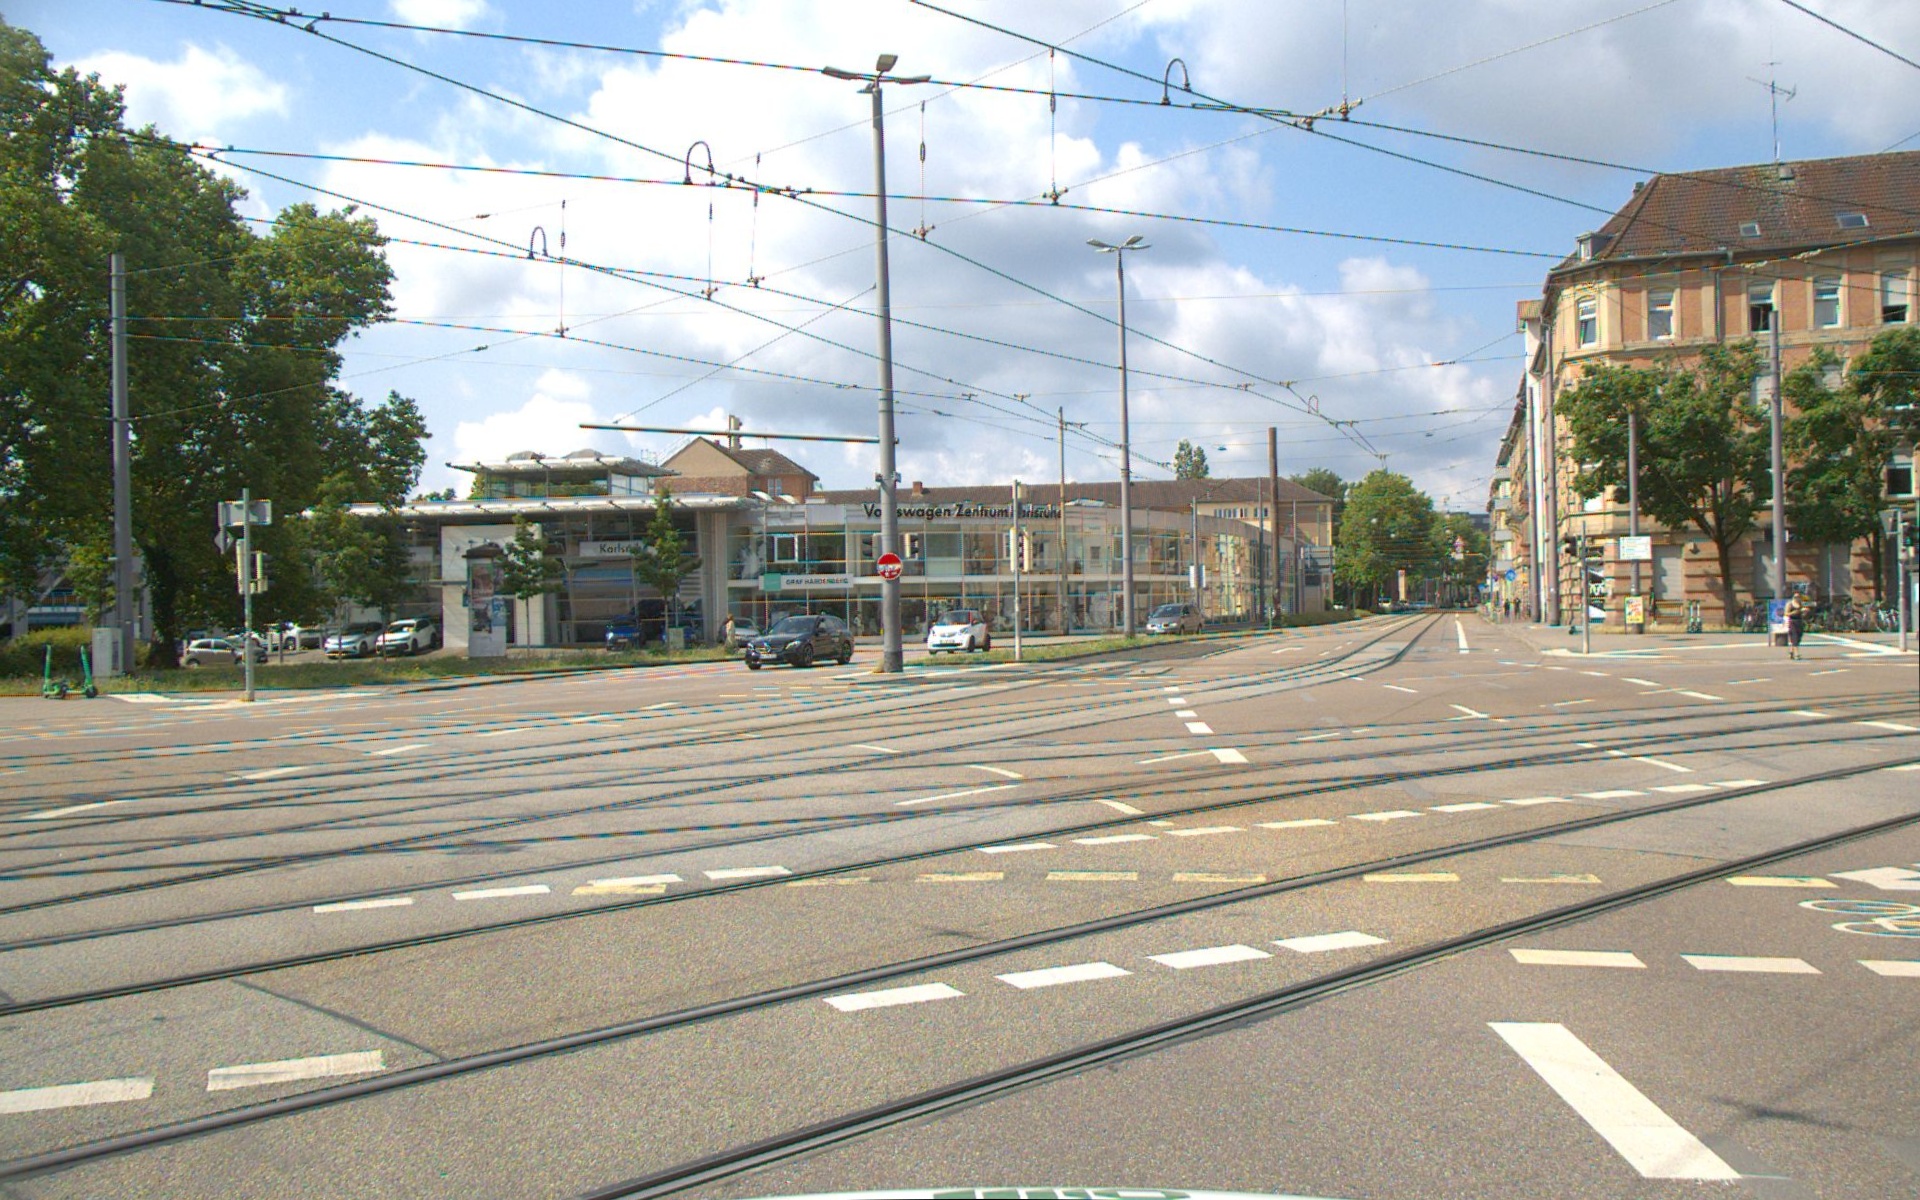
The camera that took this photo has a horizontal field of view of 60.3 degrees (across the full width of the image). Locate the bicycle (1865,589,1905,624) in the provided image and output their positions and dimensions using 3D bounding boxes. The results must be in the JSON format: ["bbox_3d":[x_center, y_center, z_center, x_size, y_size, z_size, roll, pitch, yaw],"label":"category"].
[{"bbox_3d":[33.277,0.225,59.558,0.743,1.186,2.686,-2,0,19],"label":"bicycle"}]

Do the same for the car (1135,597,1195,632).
[{"bbox_3d":[9.816,0.670,79.022,1.953,1.601,3.736,-2,0,22],"label":"car"}]

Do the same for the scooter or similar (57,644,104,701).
[{"bbox_3d":[-19.295,1.575,36.267,1.041,1.217,0.381,0,-2,29],"label":"scooter or similar"}]

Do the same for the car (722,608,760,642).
[{"bbox_3d":[-11.203,1.276,84.798,1.892,1.713,3.993,1,-1,-7],"label":"car"}]

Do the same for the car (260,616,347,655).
[{"bbox_3d":[-36.097,1.947,90.987,3.902,2.049,2.001,0,-1,7],"label":"car"}]

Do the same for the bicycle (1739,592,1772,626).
[{"bbox_3d":[29.229,0.329,60.831,0.743,1.186,2.686,-2,0,19],"label":"bicycle"}]

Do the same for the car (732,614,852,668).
[{"bbox_3d":[-4.707,1.131,46.954,1.826,1.400,3.941,-1,0,20],"label":"car"}]

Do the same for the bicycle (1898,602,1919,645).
[{"bbox_3d":[25.348,0.603,42.448,2.148,1.089,0.876,0,-1,27],"label":"bicycle"}]

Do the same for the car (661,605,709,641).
[{"bbox_3d":[-13.775,1.151,82.987,1.954,1.756,3.996,0,-1,-4],"label":"car"}]

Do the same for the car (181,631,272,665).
[{"bbox_3d":[-34.996,2.267,78.956,3.593,1.514,1.673,1,0,2],"label":"car"}]

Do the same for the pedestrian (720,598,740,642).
[{"bbox_3d":[-10.998,0.960,79.069,0.791,2.049,0.808,-1,-1,1],"label":"pedestrian"}]

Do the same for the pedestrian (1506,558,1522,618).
[{"bbox_3d":[29.029,-0.633,86.691,0.710,3.130,0.887,0,-2,26],"label":"pedestrian"}]

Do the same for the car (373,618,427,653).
[{"bbox_3d":[-28.623,1.788,84.637,1.751,1.712,3.994,-1,0,-7],"label":"car"}]

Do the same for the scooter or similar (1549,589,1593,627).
[{"bbox_3d":[23.298,0.327,63.110,1.151,1.410,2.806,0,-1,11],"label":"scooter or similar"}]

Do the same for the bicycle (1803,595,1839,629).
[{"bbox_3d":[31.305,0.448,60.163,0.743,1.186,2.685,0,-1,19],"label":"bicycle"}]

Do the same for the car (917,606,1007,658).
[{"bbox_3d":[0.098,1.174,60.898,1.953,1.870,3.999,0,-1,22],"label":"car"}]

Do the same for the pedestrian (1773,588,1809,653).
[{"bbox_3d":[19.994,0.499,39.803,0.725,1.542,0.544,-2,-1,25],"label":"pedestrian"}]

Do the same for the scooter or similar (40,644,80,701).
[{"bbox_3d":[-19.486,1.565,35.800,1.044,1.217,0.380,-1,-2,39],"label":"scooter or similar"}]

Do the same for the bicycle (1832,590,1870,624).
[{"bbox_3d":[32.210,0.252,59.842,0.743,1.186,2.686,-2,0,19],"label":"bicycle"}]

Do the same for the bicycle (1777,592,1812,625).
[{"bbox_3d":[30.432,0.298,60.353,0.743,1.186,2.686,0,0,19],"label":"bicycle"}]

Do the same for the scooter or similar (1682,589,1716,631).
[{"bbox_3d":[27.382,0.373,61.312,0.859,1.508,2.015,-1,-1,17],"label":"scooter or similar"}]

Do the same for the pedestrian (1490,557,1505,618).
[{"bbox_3d":[28.292,-0.631,87.066,0.653,3.175,0.887,0,-2,26],"label":"pedestrian"}]

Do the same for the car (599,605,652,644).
[{"bbox_3d":[-16.871,1.255,83.599,1.954,1.870,3.997,-2,-1,-3],"label":"car"}]

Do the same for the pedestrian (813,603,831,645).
[{"bbox_3d":[-6.833,1.201,82.024,0.852,2.049,0.702,-1,-1,-7],"label":"pedestrian"}]

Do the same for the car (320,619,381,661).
[{"bbox_3d":[-31.057,2.051,84.381,1.955,2.049,3.994,2,-1,-7],"label":"car"}]
